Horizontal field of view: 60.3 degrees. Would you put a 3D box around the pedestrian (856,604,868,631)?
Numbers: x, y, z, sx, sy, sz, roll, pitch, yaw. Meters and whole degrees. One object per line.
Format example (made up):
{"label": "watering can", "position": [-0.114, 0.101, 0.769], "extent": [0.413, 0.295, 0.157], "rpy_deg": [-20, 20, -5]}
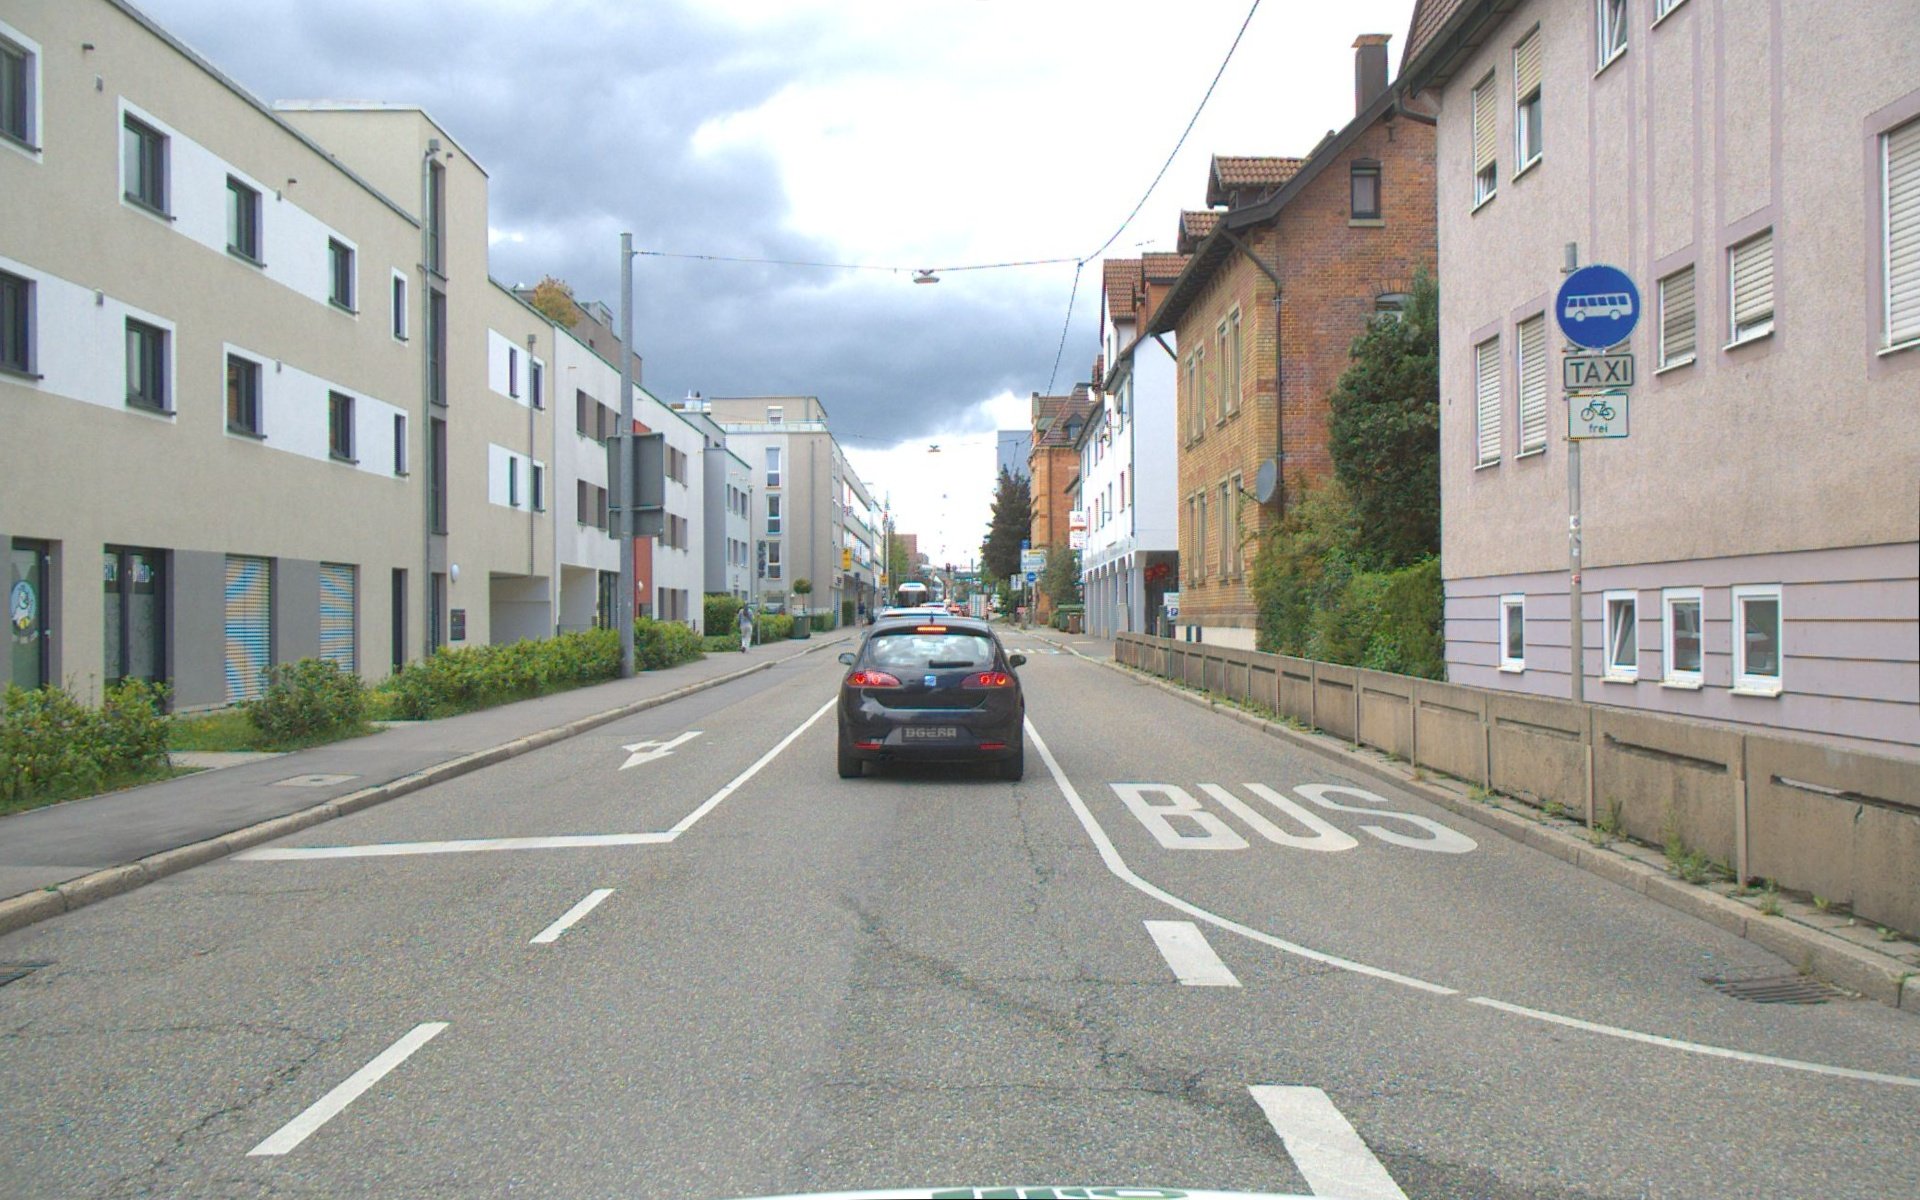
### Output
{"label": "pedestrian", "position": [-6.534, 1.173, 110.097], "extent": [0.716, 1.759, 0.859], "rpy_deg": [1, -1, -1]}

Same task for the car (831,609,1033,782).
{"label": "car", "position": [-0.248, 0.838, 16.222], "extent": [1.723, 1.467, 3.999], "rpy_deg": [1, -1, 0]}

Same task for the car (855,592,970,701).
{"label": "car", "position": [-0.773, 0.758, 28.280], "extent": [1.805, 1.723, 3.999], "rpy_deg": [1, -1, -1]}

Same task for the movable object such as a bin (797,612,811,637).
{"label": "movable object such as a bin", "position": [-6.929, 1.085, 73.325], "extent": [0.538, 1.097, 0.612], "rpy_deg": [1, -1, 0]}

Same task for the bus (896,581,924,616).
{"label": "bus", "position": [-4.343, -0.078, 144.169], "extent": [2.165, 2.937, 8.918], "rpy_deg": [1, -1, 0]}

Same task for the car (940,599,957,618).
{"label": "car", "position": [-1.051, 0.791, 152.538], "extent": [1.500, 1.722, 3.692], "rpy_deg": [-1, 0, -1]}

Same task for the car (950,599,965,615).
{"label": "car", "position": [-0.297, 0.766, 179.188], "extent": [1.500, 1.722, 3.692], "rpy_deg": [-1, 0, -1]}

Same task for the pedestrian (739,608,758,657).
{"label": "pedestrian", "position": [-6.806, 1.035, 53.213], "extent": [0.516, 1.575, 0.541], "rpy_deg": [1, -1, -1]}

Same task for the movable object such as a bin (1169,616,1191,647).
{"label": "movable object such as a bin", "position": [6.340, 0.905, 47.654], "extent": [0.580, 0.854, 0.458], "rpy_deg": [1, -1, -1]}

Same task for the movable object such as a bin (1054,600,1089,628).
{"label": "movable object such as a bin", "position": [6.102, 0.756, 90.422], "extent": [1.780, 1.462, 1.993], "rpy_deg": [1, -1, 0]}

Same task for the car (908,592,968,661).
{"label": "car", "position": [-0.575, 0.692, 43.664], "extent": [1.500, 1.723, 3.692], "rpy_deg": [1, -1, -1]}

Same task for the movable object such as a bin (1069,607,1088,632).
{"label": "movable object such as a bin", "position": [6.164, 1.019, 86.052], "extent": [0.909, 1.306, 0.883], "rpy_deg": [1, -1, 0]}

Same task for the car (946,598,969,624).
{"label": "car", "position": [-0.173, 0.764, 111.226], "extent": [1.500, 1.723, 3.692], "rpy_deg": [1, -1, -1]}

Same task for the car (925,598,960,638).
{"label": "car", "position": [-0.762, 0.798, 73.699], "extent": [1.500, 1.723, 3.692], "rpy_deg": [1, -1, -1]}
